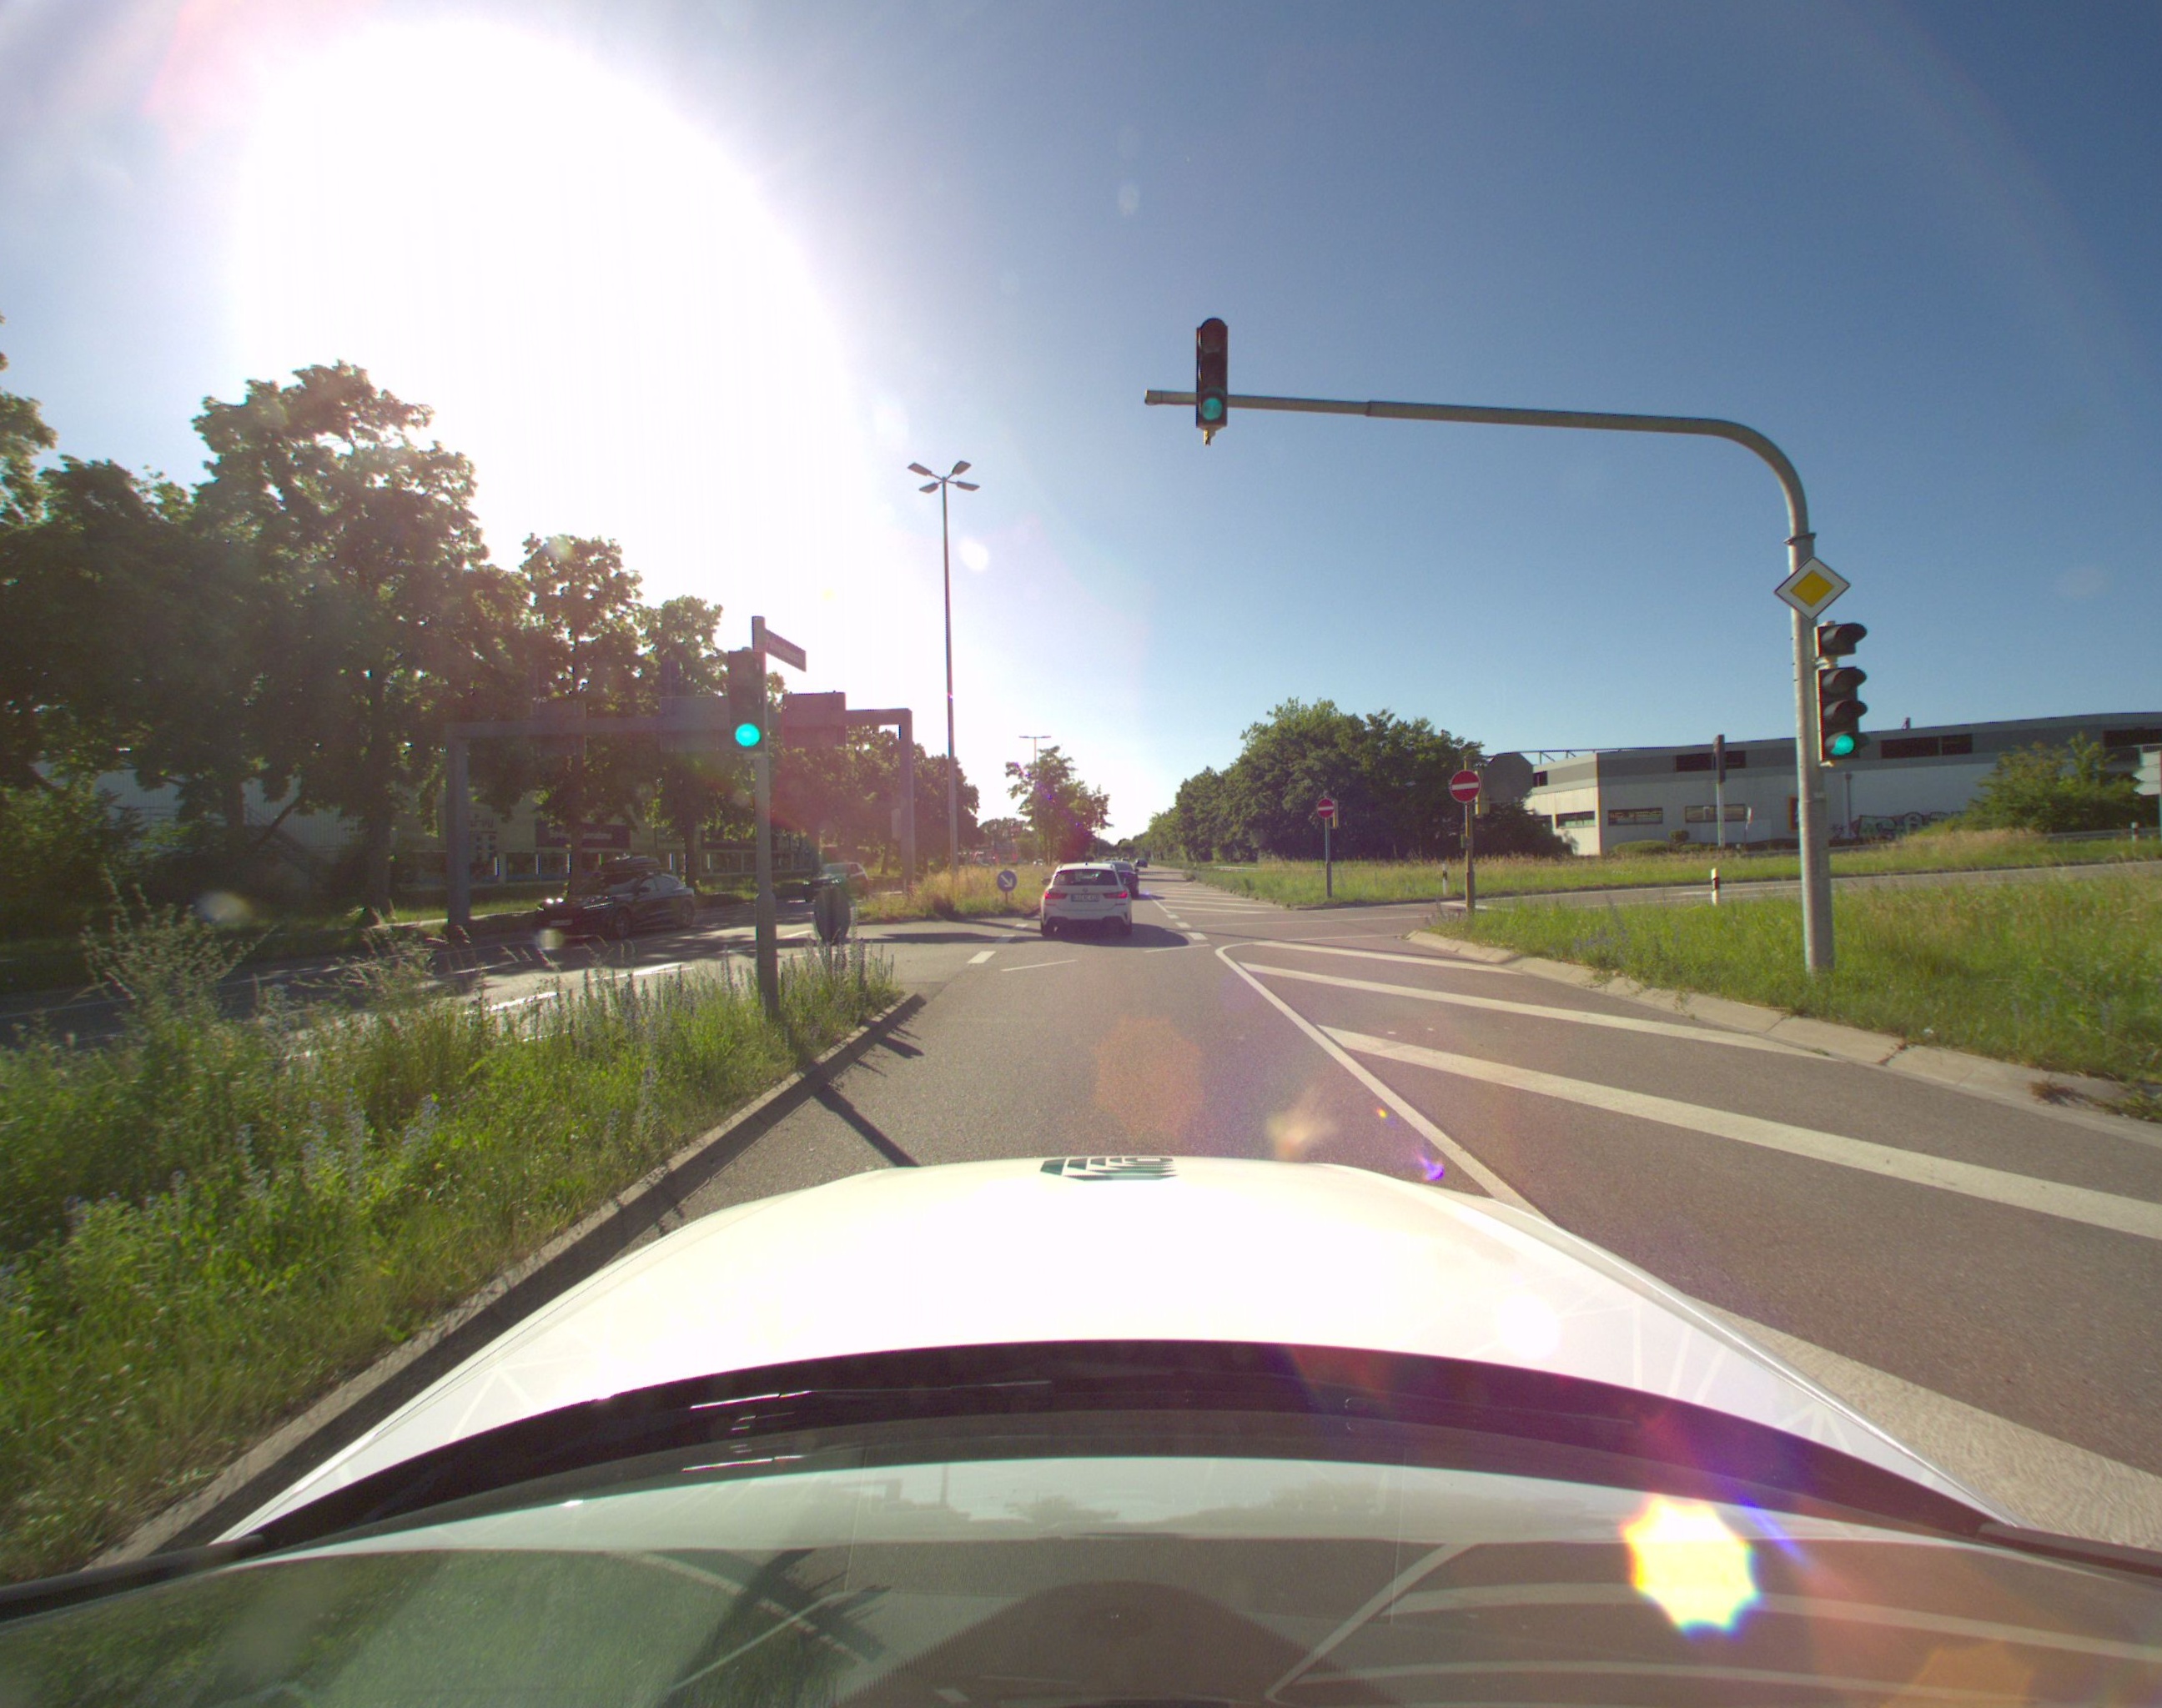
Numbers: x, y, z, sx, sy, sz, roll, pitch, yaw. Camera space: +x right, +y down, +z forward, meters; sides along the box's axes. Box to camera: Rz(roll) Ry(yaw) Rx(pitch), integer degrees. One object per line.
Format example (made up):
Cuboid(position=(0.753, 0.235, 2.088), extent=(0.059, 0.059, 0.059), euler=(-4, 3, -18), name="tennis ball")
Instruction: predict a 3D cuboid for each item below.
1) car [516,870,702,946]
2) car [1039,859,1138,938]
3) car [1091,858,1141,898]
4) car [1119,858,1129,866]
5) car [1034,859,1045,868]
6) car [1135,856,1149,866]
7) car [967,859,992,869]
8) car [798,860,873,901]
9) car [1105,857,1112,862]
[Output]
Cuboid(position=(-11.694, 1.266, 20.621), extent=(1.869, 1.543, 4.574), euler=(-3, 0, 2), name="car")
Cuboid(position=(0.220, 0.850, 17.558), extent=(1.854, 1.455, 4.549), euler=(0, 0, 2), name="car")
Cuboid(position=(1.376, 0.927, 33.144), extent=(1.855, 1.455, 4.549), euler=(-2, 0, 1), name="car")
Cuboid(position=(8.271, 1.509, 155.961), extent=(1.766, 1.555, 3.832), euler=(-2, 0, 0), name="car")
Cuboid(position=(-7.949, 1.784, 155.458), extent=(1.700, 1.746, 4.166), euler=(-1, 0, 0), name="car")
Cuboid(position=(9.234, 1.089, 124.149), extent=(1.855, 1.499, 4.337), euler=(-1, 0, 1), name="car")
Cuboid(position=(-18.163, 1.830, 146.047), extent=(4.092, 1.662, 1.895), euler=(-2, 0, 4), name="car")
Cuboid(position=(-11.482, 1.193, 38.377), extent=(1.935, 1.697, 4.631), euler=(-3, 0, 1), name="car")
Cuboid(position=(7.706, 1.571, 230.023), extent=(1.855, 1.565, 4.549), euler=(-2, 0, 1), name="car")
